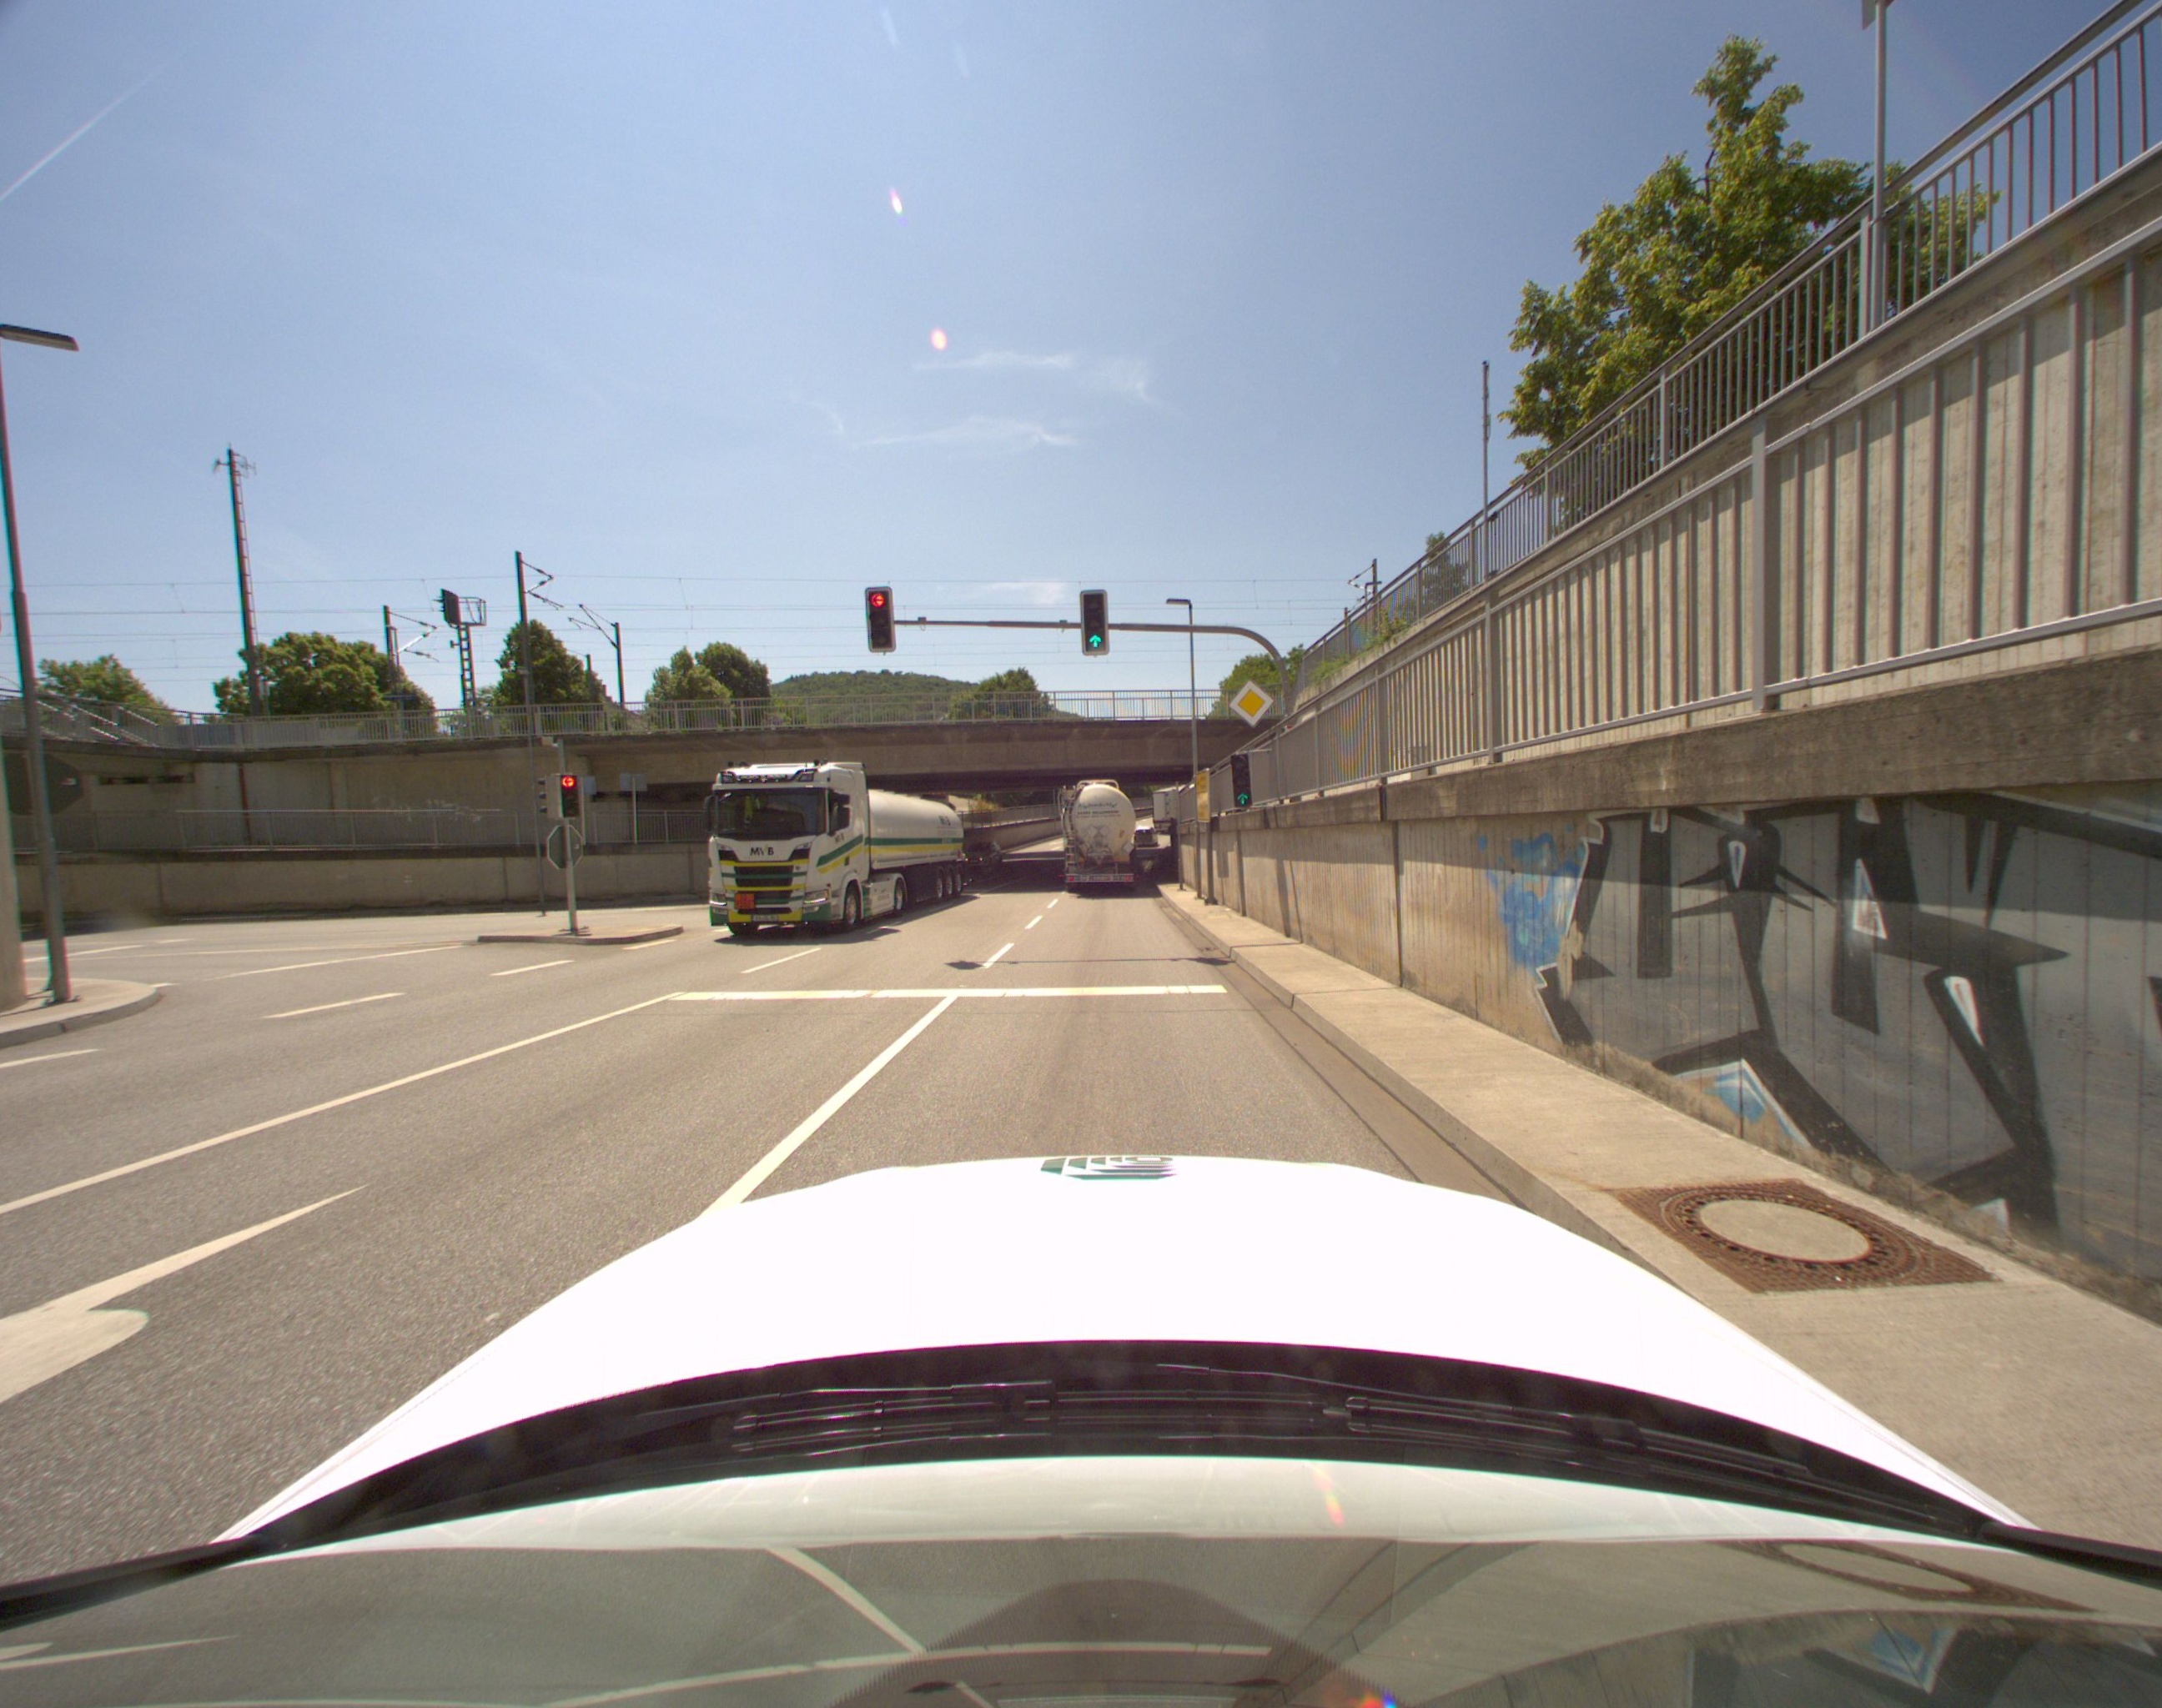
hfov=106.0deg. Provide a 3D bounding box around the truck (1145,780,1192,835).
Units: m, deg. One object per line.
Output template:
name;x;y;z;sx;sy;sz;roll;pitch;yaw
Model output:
truck;8.785;-4.670;80.511;3.058;4.998;10.126;0;4;14

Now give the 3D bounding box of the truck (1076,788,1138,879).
truck;1.357;-0.994;40.223;2.723;4.064;6.535;-2;1;3

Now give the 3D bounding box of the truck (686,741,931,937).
truck;-5.845;-0.297;19.059;2.677;3.663;7.378;-1;0;5

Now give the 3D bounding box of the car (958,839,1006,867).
car;-5.941;-0.094;49.087;1.769;1.466;3.844;-3;2;9

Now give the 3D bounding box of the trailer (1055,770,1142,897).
trailer;0.952;-0.828;33.237;2.723;4.064;13.325;-2;1;3

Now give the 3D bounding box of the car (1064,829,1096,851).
car;-0.047;-1.121;62.875;1.732;1.464;3.838;0;4;11

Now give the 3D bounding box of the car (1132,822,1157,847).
car;5.054;-1.558;64.490;1.872;1.638;4.010;-1;6;6

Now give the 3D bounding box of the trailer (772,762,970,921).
trailer;-5.556;-0.328;23.861;2.678;3.663;9.898;-1;0;3
